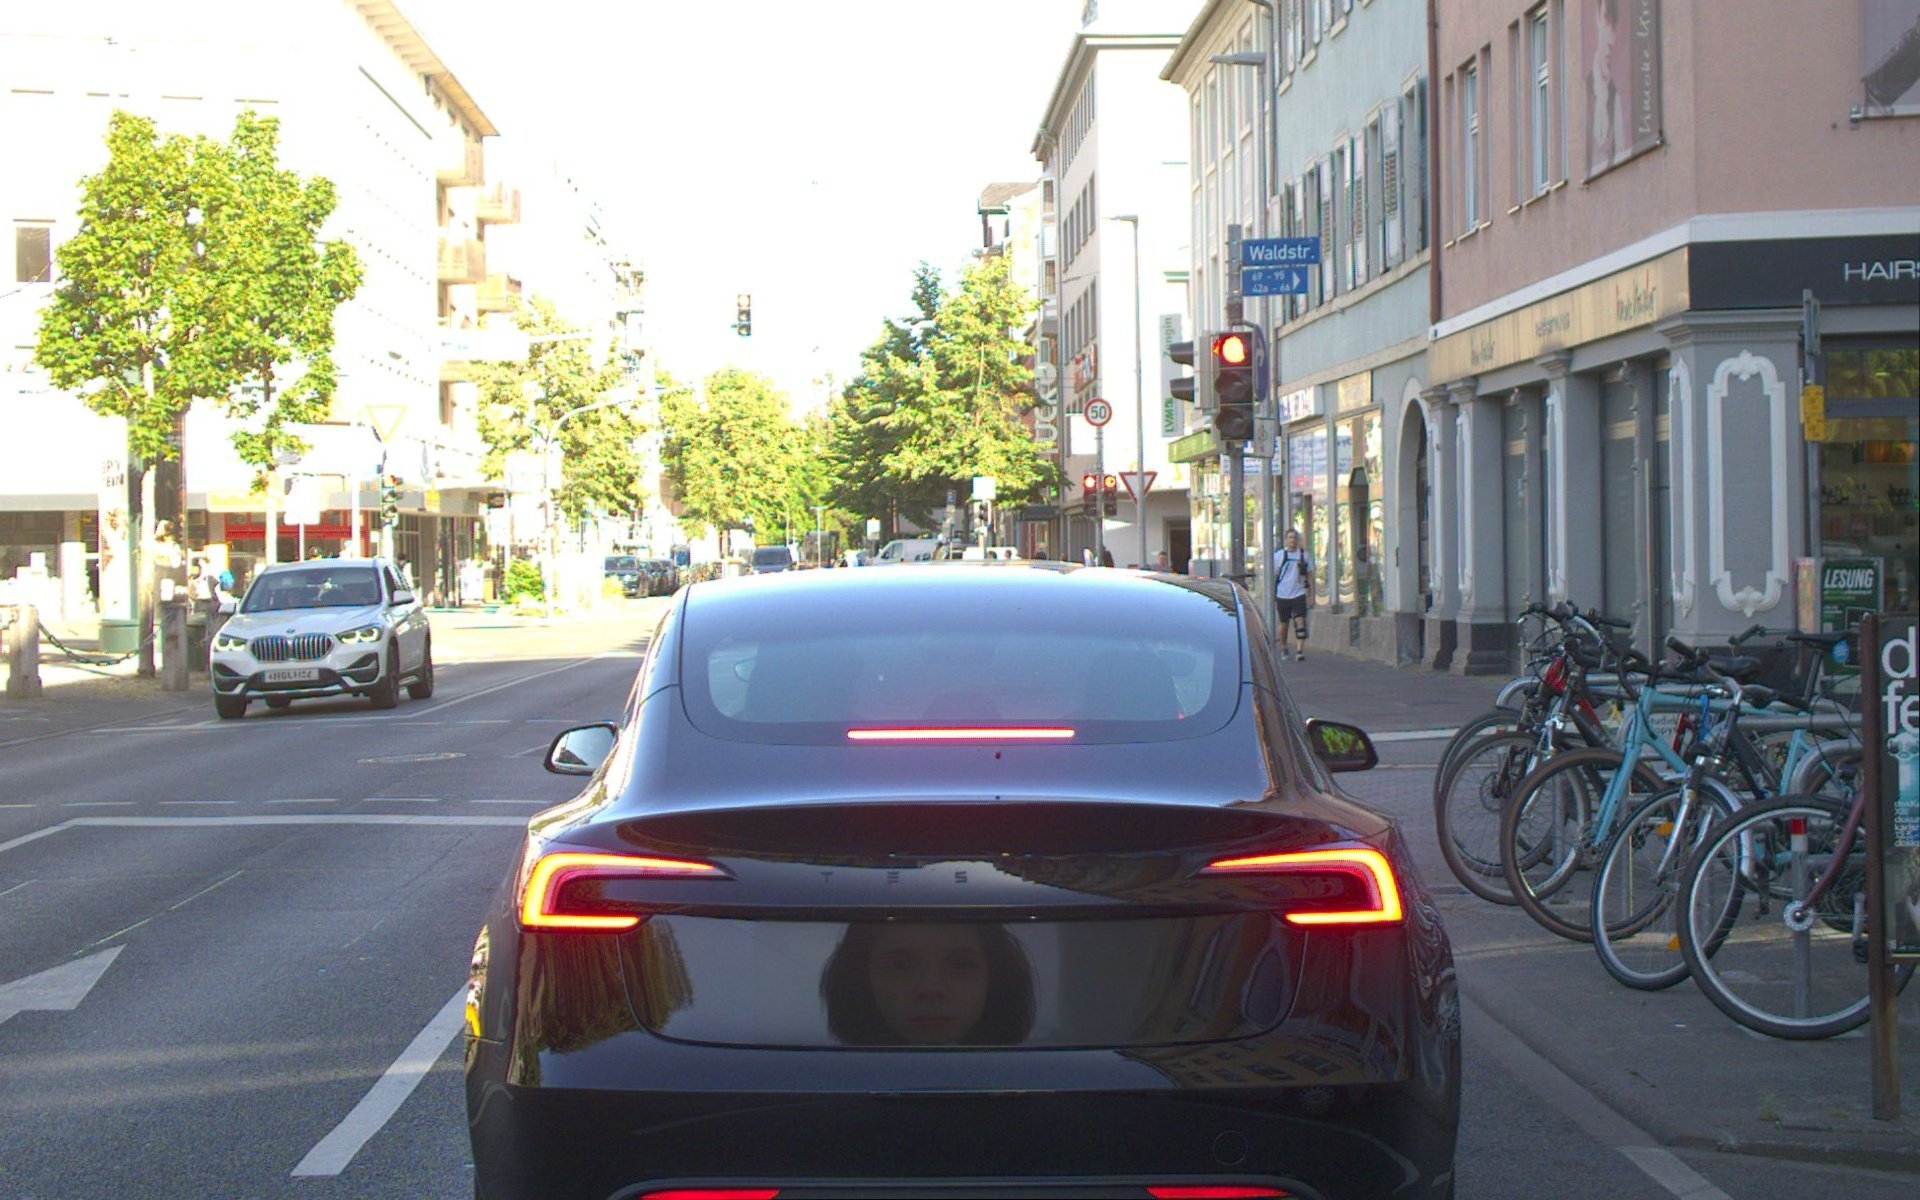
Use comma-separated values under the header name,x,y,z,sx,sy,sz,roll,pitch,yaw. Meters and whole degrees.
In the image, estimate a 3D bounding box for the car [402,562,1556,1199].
name,x,y,z,sx,sy,sz,roll,pitch,yaw
car,0.036,0.652,7.414,1.850,1.450,3.786,0,1,0

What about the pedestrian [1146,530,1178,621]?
name,x,y,z,sx,sy,sz,roll,pitch,yaw
pedestrian,3.744,-0.451,63.794,0.570,1.685,0.387,0,1,-1

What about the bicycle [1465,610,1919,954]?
name,x,y,z,sx,sy,sz,roll,pitch,yaw
bicycle,2.696,0.647,12.445,1.627,1.156,0.433,-2,1,-1

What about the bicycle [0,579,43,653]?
name,x,y,z,sx,sy,sz,roll,pitch,yaw
bicycle,-15.064,0.236,52.176,2.082,1.100,0.806,0,1,-1

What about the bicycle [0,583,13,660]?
name,x,y,z,sx,sy,sz,roll,pitch,yaw
bicycle,-14.925,0.307,49.983,2.082,1.100,0.806,0,1,-1

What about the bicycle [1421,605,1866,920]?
name,x,y,z,sx,sy,sz,roll,pitch,yaw
bicycle,2.680,0.629,13.544,1.627,1.156,0.433,-2,1,-1

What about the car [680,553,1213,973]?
name,x,y,z,sx,sy,sz,roll,pitch,yaw
car,-0.041,0.542,13.830,1.850,1.450,3.786,0,1,0

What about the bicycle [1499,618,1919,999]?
name,x,y,z,sx,sy,sz,roll,pitch,yaw
bicycle,2.625,0.663,11.205,1.627,1.156,0.433,-2,1,-1

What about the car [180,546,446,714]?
name,x,y,z,sx,sy,sz,roll,pitch,yaw
car,-6.712,0.267,36.084,1.993,1.535,4.000,-4,1,-1

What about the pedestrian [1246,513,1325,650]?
name,x,y,z,sx,sy,sz,roll,pitch,yaw
pedestrian,4.399,-0.257,46.556,0.999,1.844,0.615,0,1,-1

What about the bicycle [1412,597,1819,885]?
name,x,y,z,sx,sy,sz,roll,pitch,yaw
bicycle,2.803,0.598,14.766,1.628,1.156,0.433,-2,1,1

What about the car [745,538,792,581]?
name,x,y,z,sx,sy,sz,roll,pitch,yaw
car,-7.774,-1.648,139.548,1.829,1.718,4.000,0,1,-2

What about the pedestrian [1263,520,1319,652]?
name,x,y,z,sx,sy,sz,roll,pitch,yaw
pedestrian,4.483,-0.196,46.631,0.704,1.777,0.533,0,1,-1
